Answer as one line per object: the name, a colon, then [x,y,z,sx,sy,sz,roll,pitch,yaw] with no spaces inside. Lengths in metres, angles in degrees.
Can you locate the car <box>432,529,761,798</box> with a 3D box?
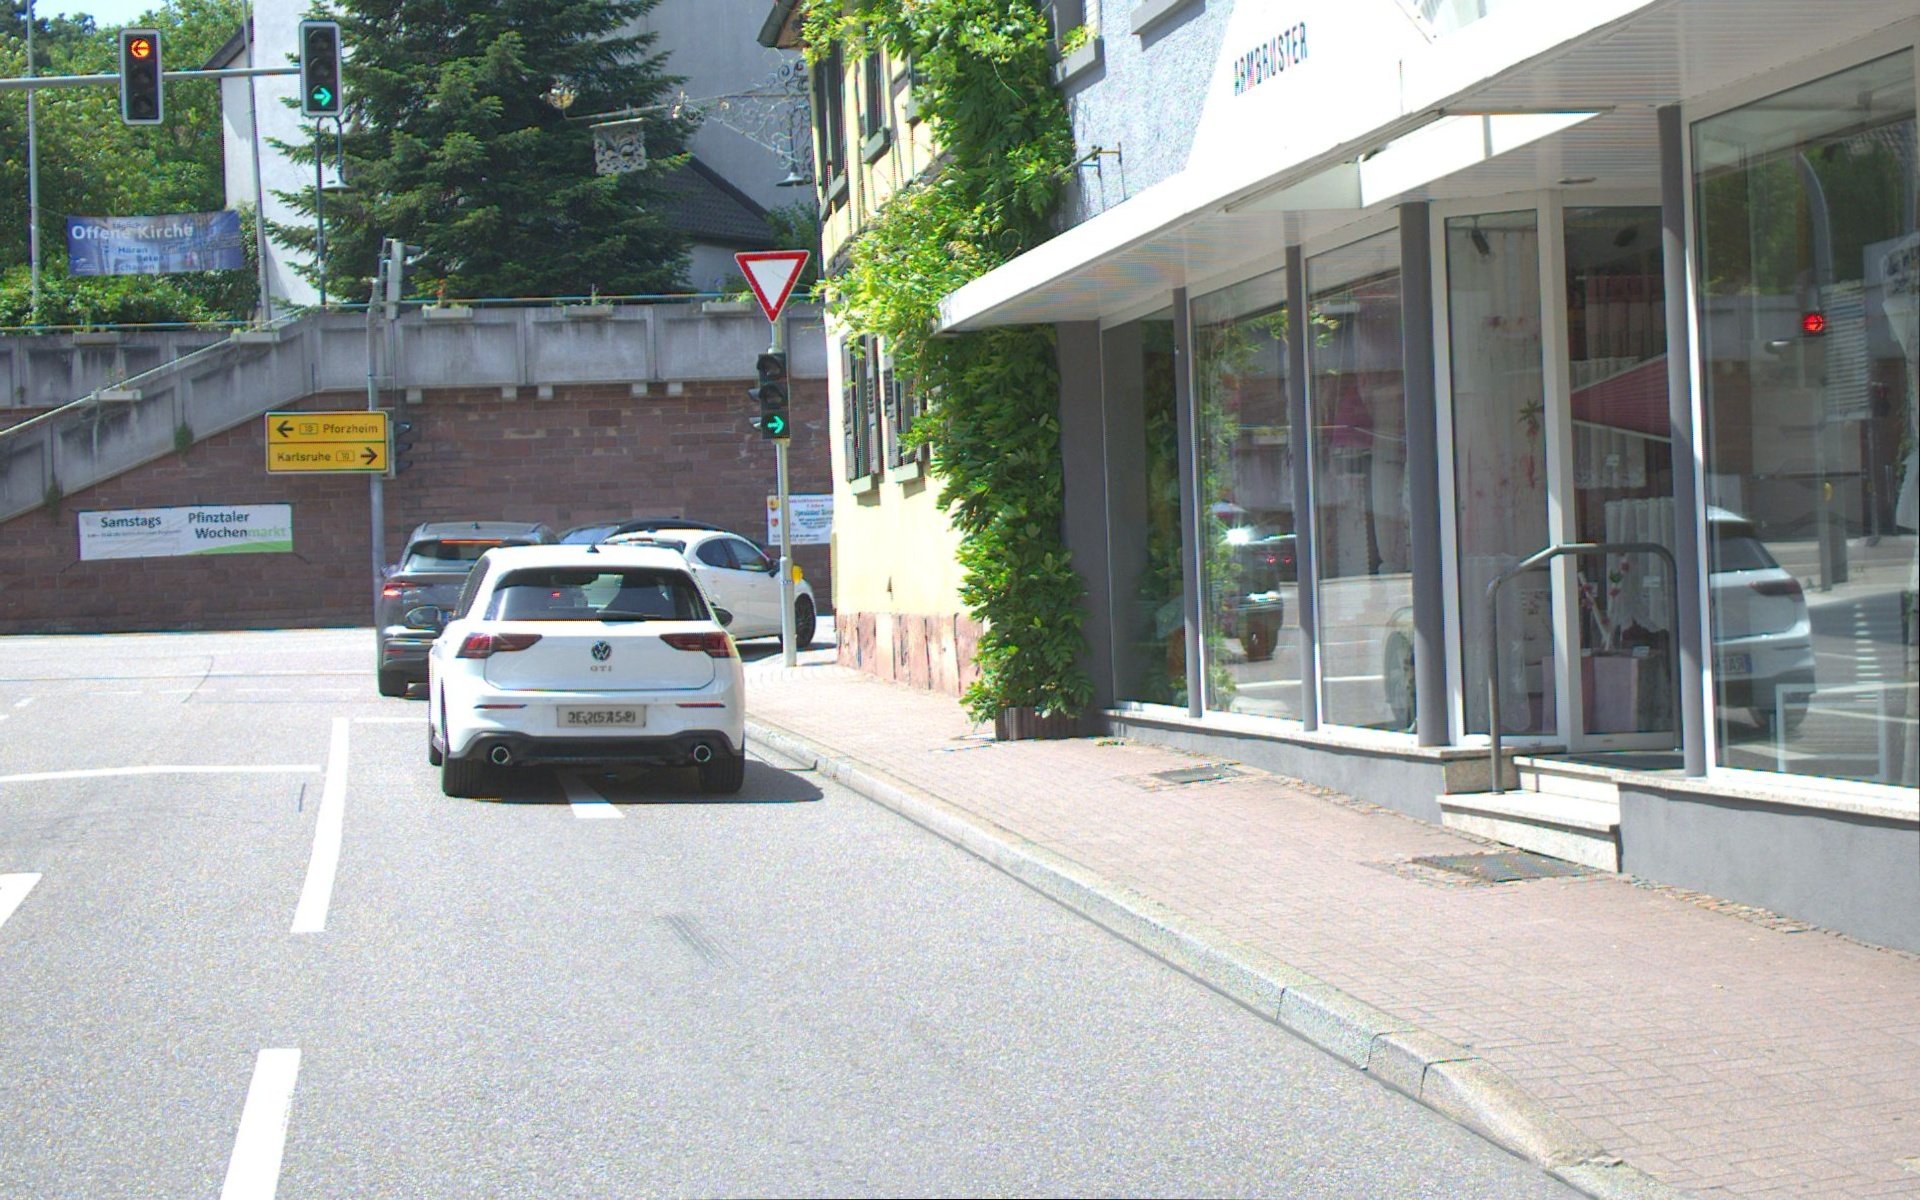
car: [-2.324,0.329,21.172,1.782,1.453,3.864,-2,1,-9]

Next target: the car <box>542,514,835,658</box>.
car: [-3.131,-0.205,40.499,1.773,1.491,3.983,0,3,23]

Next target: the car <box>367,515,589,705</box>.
car: [-4.587,0.036,33.084,1.949,1.577,4.327,-1,3,-7]
